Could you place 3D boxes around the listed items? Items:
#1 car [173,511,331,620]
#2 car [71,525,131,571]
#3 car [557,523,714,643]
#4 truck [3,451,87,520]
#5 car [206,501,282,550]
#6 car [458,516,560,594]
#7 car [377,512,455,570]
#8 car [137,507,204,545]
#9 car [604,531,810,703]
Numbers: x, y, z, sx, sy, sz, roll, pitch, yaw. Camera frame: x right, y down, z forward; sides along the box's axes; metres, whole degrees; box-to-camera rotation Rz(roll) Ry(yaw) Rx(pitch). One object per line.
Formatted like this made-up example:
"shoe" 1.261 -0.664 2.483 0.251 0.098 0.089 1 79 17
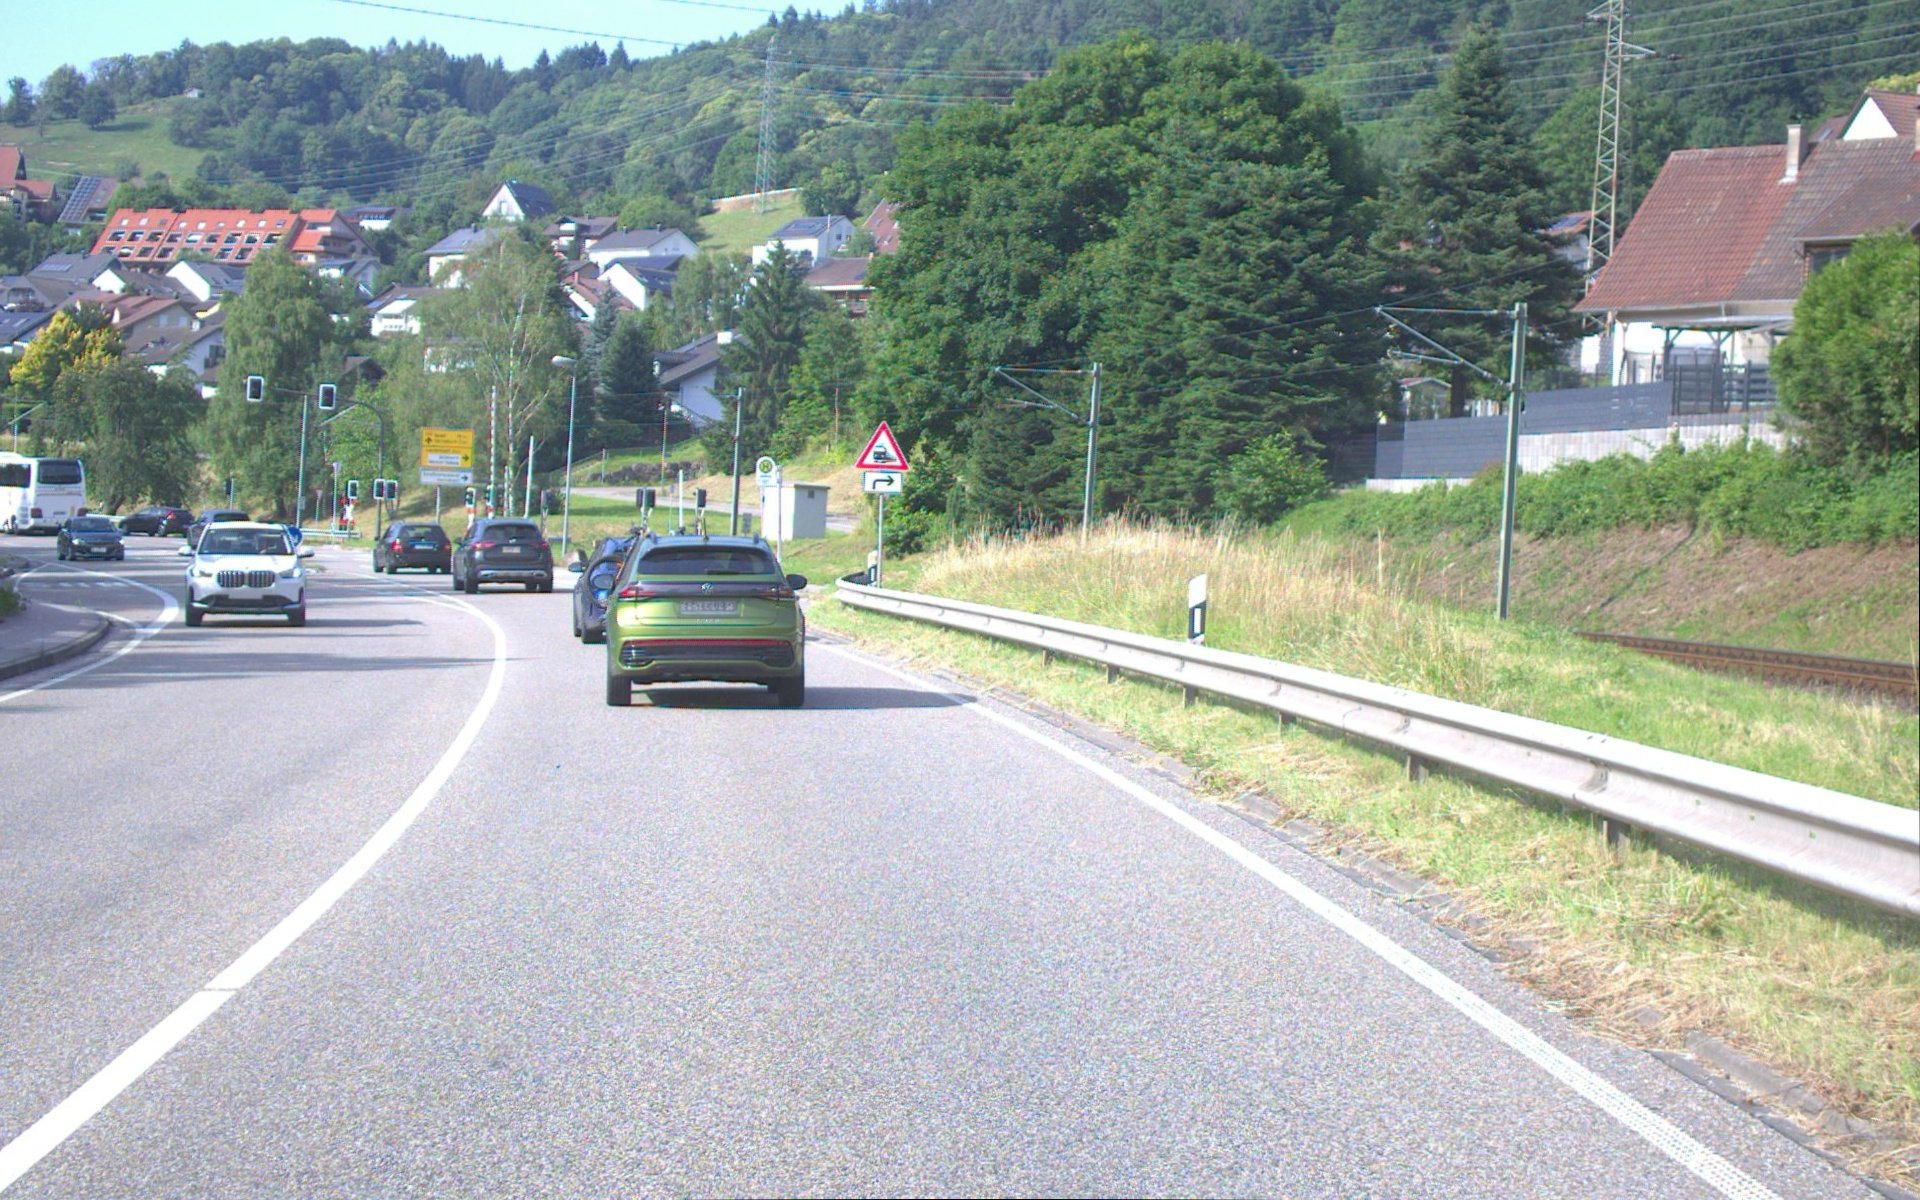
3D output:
"car" -11.136 -0.566 54.323 1.993 1.624 4.001 1 1 -5
"car" -28.629 -1.750 114.574 1.890 1.483 4.001 -1 1 -14
"car" -4.462 -0.259 46.807 1.666 1.554 4.001 0 1 -12
"truck" -42.660 -5.352 160.198 2.711 3.073 6.110 1 2 -25
"car" -27.708 -2.898 132.993 2.063 1.805 4.001 0 1 -24
"car" -10.073 -1.004 76.507 1.879 1.681 4.001 0 1 -13
"car" -15.221 -1.653 96.086 1.848 1.521 3.663 2 1 -13
"car" -37.674 -3.520 164.028 1.993 1.739 4.000 2 0 -30
"car" -2.345 0.108 31.079 1.714 1.450 4.001 0 1 -6
